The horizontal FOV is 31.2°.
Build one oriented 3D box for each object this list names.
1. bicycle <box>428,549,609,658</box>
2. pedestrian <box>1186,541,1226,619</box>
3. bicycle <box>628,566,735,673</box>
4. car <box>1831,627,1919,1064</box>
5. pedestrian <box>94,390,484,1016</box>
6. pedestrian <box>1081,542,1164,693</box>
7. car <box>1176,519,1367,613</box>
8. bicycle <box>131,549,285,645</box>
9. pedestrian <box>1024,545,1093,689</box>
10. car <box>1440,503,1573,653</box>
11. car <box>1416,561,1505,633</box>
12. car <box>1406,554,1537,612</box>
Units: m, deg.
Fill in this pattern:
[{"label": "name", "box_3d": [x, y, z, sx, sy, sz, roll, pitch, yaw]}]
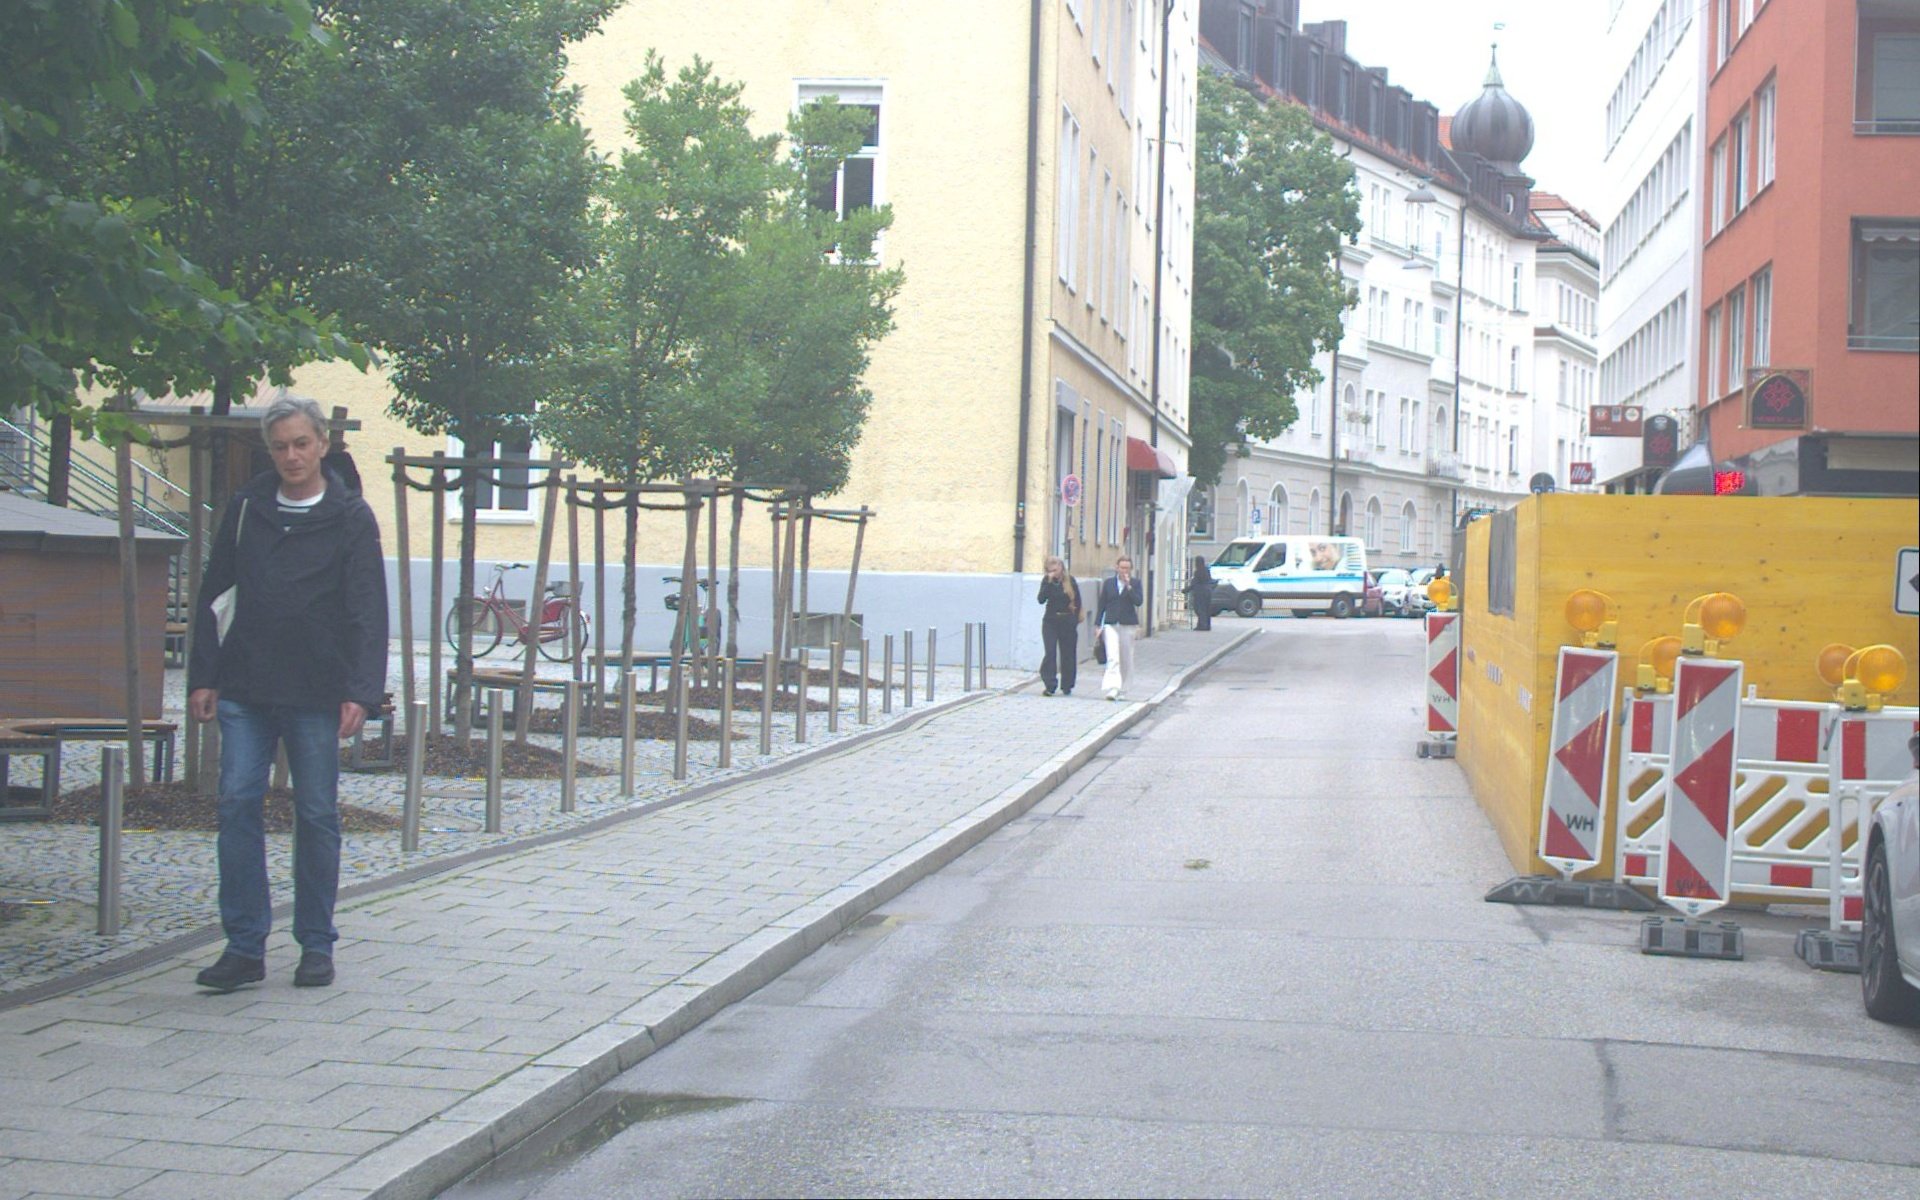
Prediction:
[{"label": "bicycle", "box_3d": [-5.287, 0.035, 41.176, 2.045, 1.193, 0.569, 3, 1, 14]}, {"label": "pedestrian", "box_3d": [5.371, -0.440, 75.078, 0.634, 1.669, 0.518, 2, 1, -18]}, {"label": "bicycle", "box_3d": [-3.115, 0.210, 38.606, 0.510, 1.140, 2.051, 3, 1, 14]}, {"label": "car", "box_3d": [3.993, 0.864, 10.857, 1.708, 1.409, 4.508, 3, 1, 6]}, {"label": "pedestrian", "box_3d": [-2.133, 0.308, 11.076, 0.868, 1.875, 1.134, 3, 0, 5]}, {"label": "pedestrian", "box_3d": [1.892, 0.197, 39.887, 0.839, 1.695, 0.803, 3, 0, 6]}, {"label": "car", "box_3d": [8.645, -0.937, 95.286, 4.977, 2.390, 2.000, 2, 1, -31]}, {"label": "bicycle", "box_3d": [-9.040, -0.037, 41.345, 1.657, 1.065, 0.597, 3, 1, 11]}, {"label": "pedestrian", "box_3d": [1.157, 0.193, 40.233, 0.670, 1.642, 0.761, 3, 0, 6]}, {"label": "car", "box_3d": [9.897, -0.416, 62.628, 1.994, 2.528, 4.974, 3, 1, 6]}, {"label": "car", "box_3d": [11.744, -0.084, 80.907, 1.811, 1.557, 4.274, 3, 1, 6]}, {"label": "car", "box_3d": [15.321, -0.500, 102.864, 3.989, 1.568, 1.696, 2, 1, -43]}]
